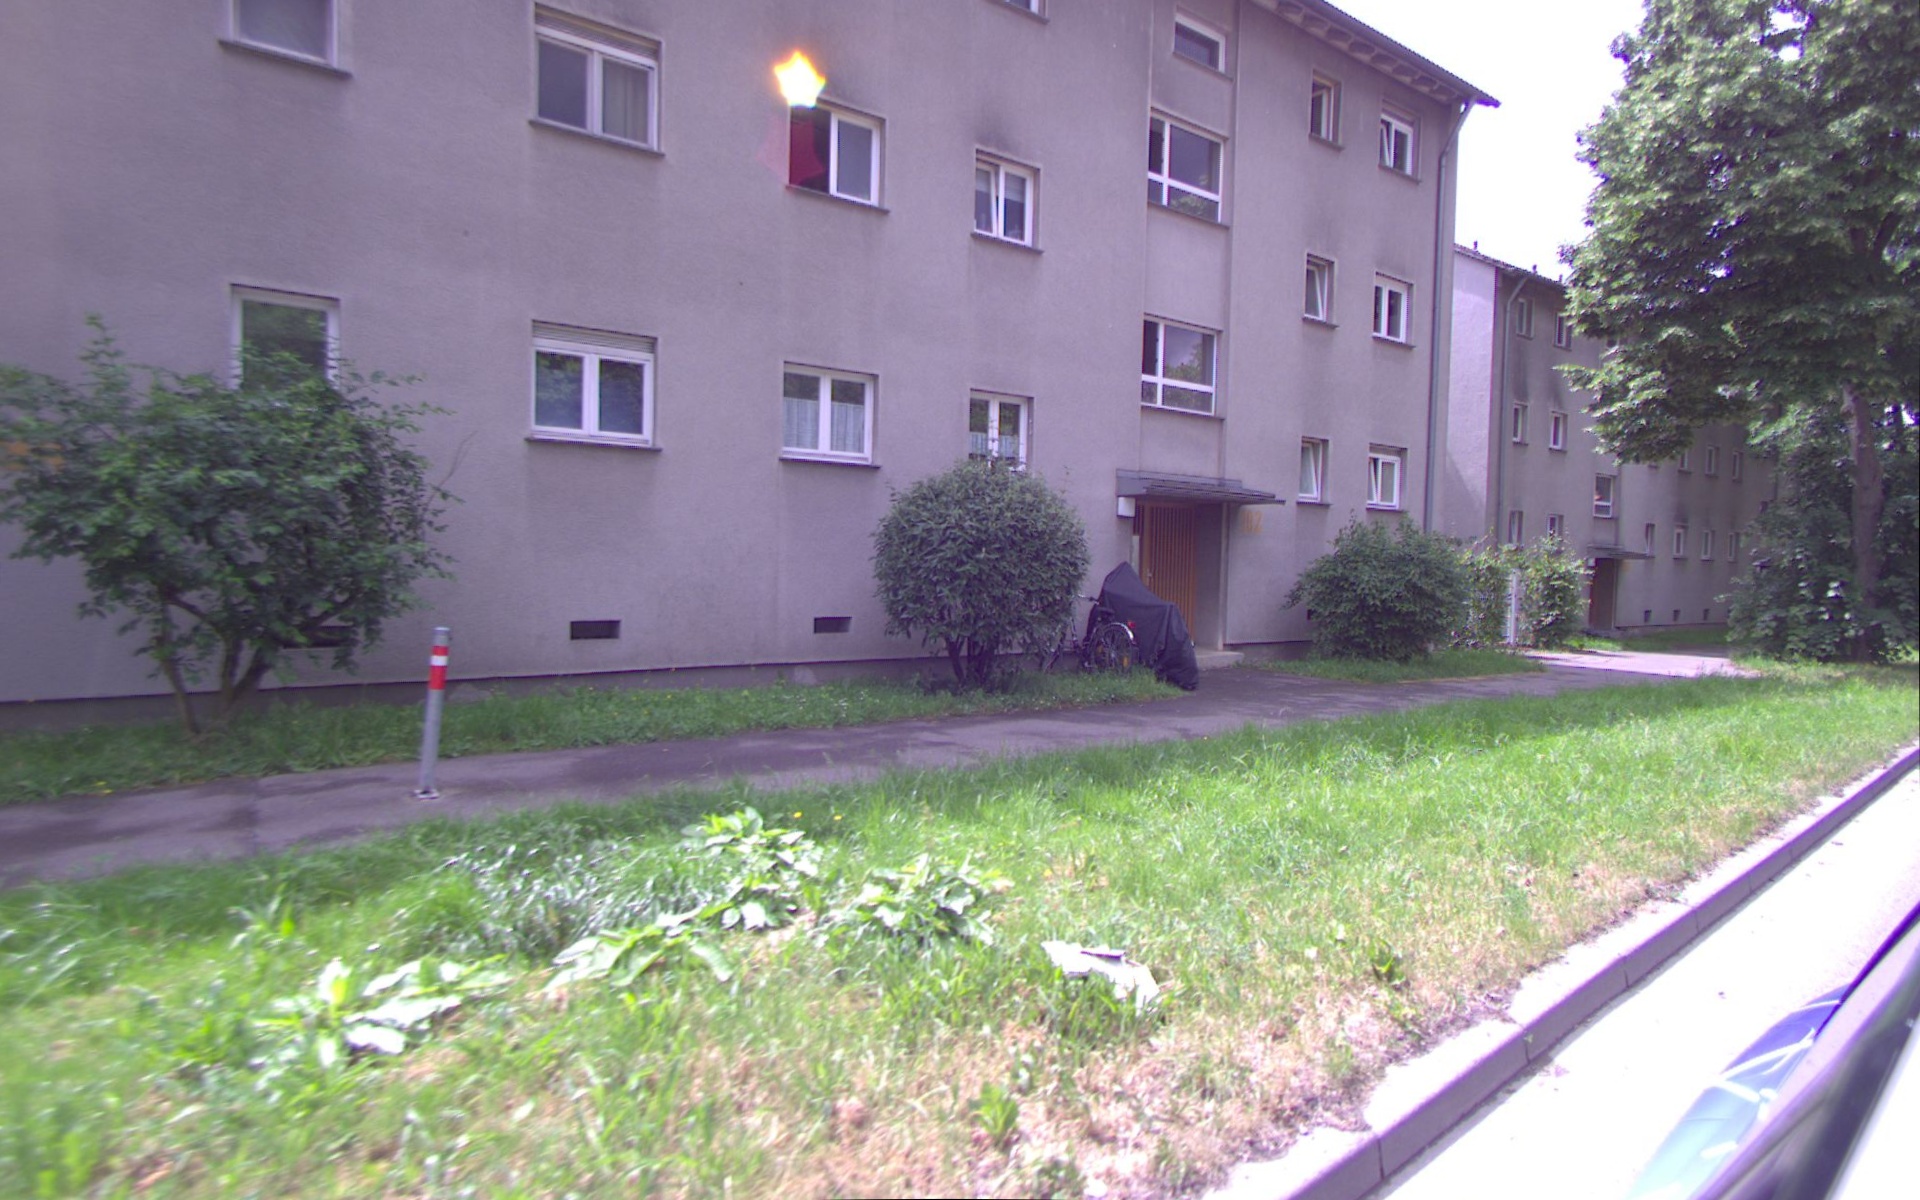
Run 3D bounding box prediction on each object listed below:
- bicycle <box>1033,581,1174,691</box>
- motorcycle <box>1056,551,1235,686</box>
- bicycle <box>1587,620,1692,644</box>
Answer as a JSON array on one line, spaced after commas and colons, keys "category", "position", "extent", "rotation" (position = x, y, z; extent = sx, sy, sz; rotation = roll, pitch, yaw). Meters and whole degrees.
[{"category": "bicycle", "position": [1.582, 0.365, 11.436], "extent": [0.446, 1.098, 1.804], "rotation": [1, 2, -35]}, {"category": "motorcycle", "position": [2.143, 0.160, 12.003], "extent": [0.996, 1.447, 2.007], "rotation": [1, 2, -29]}, {"category": "bicycle", "position": [17.653, 0.826, 26.347], "extent": [0.659, 0.514, 2.214], "rotation": [-1, 1, -29]}]
